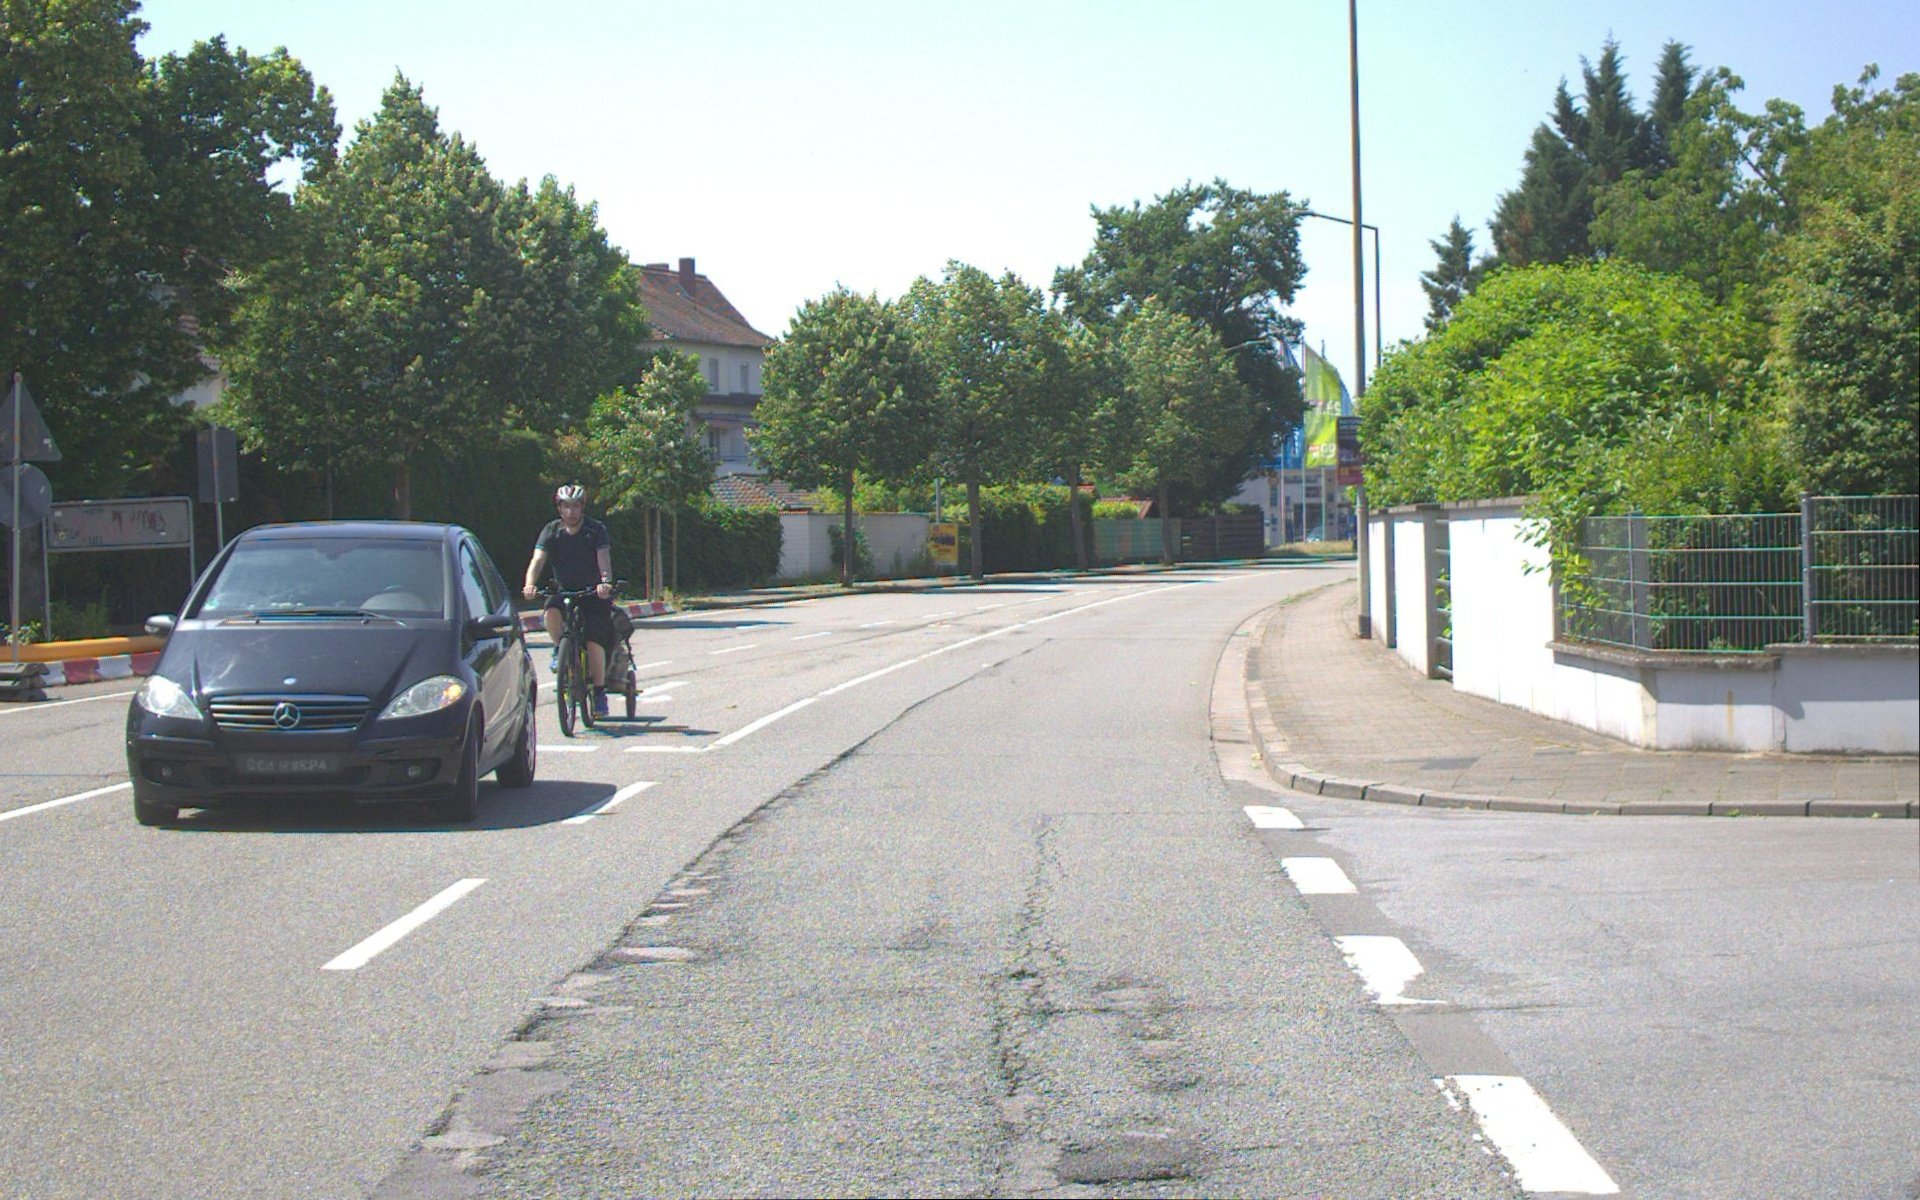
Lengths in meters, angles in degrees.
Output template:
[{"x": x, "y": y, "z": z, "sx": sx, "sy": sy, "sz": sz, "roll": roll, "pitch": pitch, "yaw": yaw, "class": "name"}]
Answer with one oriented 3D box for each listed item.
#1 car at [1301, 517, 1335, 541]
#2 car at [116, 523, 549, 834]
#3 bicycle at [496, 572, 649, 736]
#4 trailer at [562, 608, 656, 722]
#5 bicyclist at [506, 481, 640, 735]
[{"x": 23.142, "y": -4.583, "z": 222.098, "sx": 1.618, "sy": 1.415, "sz": 3.709, "roll": -2, "pitch": 1, "yaw": 15, "class": "car"}, {"x": -3.332, "y": 0.353, "z": 18.911, "sx": 1.725, "sy": 1.527, "sz": 3.830, "roll": 0, "pitch": 1, "yaw": -1, "class": "car"}, {"x": -2.892, "y": 0.383, "z": 25.852, "sx": 0.850, "sy": 1.162, "sz": 1.977, "roll": 0, "pitch": 1, "yaw": 2, "class": "bicycle"}, {"x": -2.792, "y": 0.507, "z": 27.417, "sx": 0.570, "sy": 0.853, "sz": 1.132, "roll": -1, "pitch": 1, "yaw": 2, "class": "trailer"}, {"x": -2.894, "y": 0.051, "z": 25.795, "sx": 0.846, "sy": 1.859, "sz": 0.976, "roll": 0, "pitch": 1, "yaw": 2, "class": "bicyclist"}]
